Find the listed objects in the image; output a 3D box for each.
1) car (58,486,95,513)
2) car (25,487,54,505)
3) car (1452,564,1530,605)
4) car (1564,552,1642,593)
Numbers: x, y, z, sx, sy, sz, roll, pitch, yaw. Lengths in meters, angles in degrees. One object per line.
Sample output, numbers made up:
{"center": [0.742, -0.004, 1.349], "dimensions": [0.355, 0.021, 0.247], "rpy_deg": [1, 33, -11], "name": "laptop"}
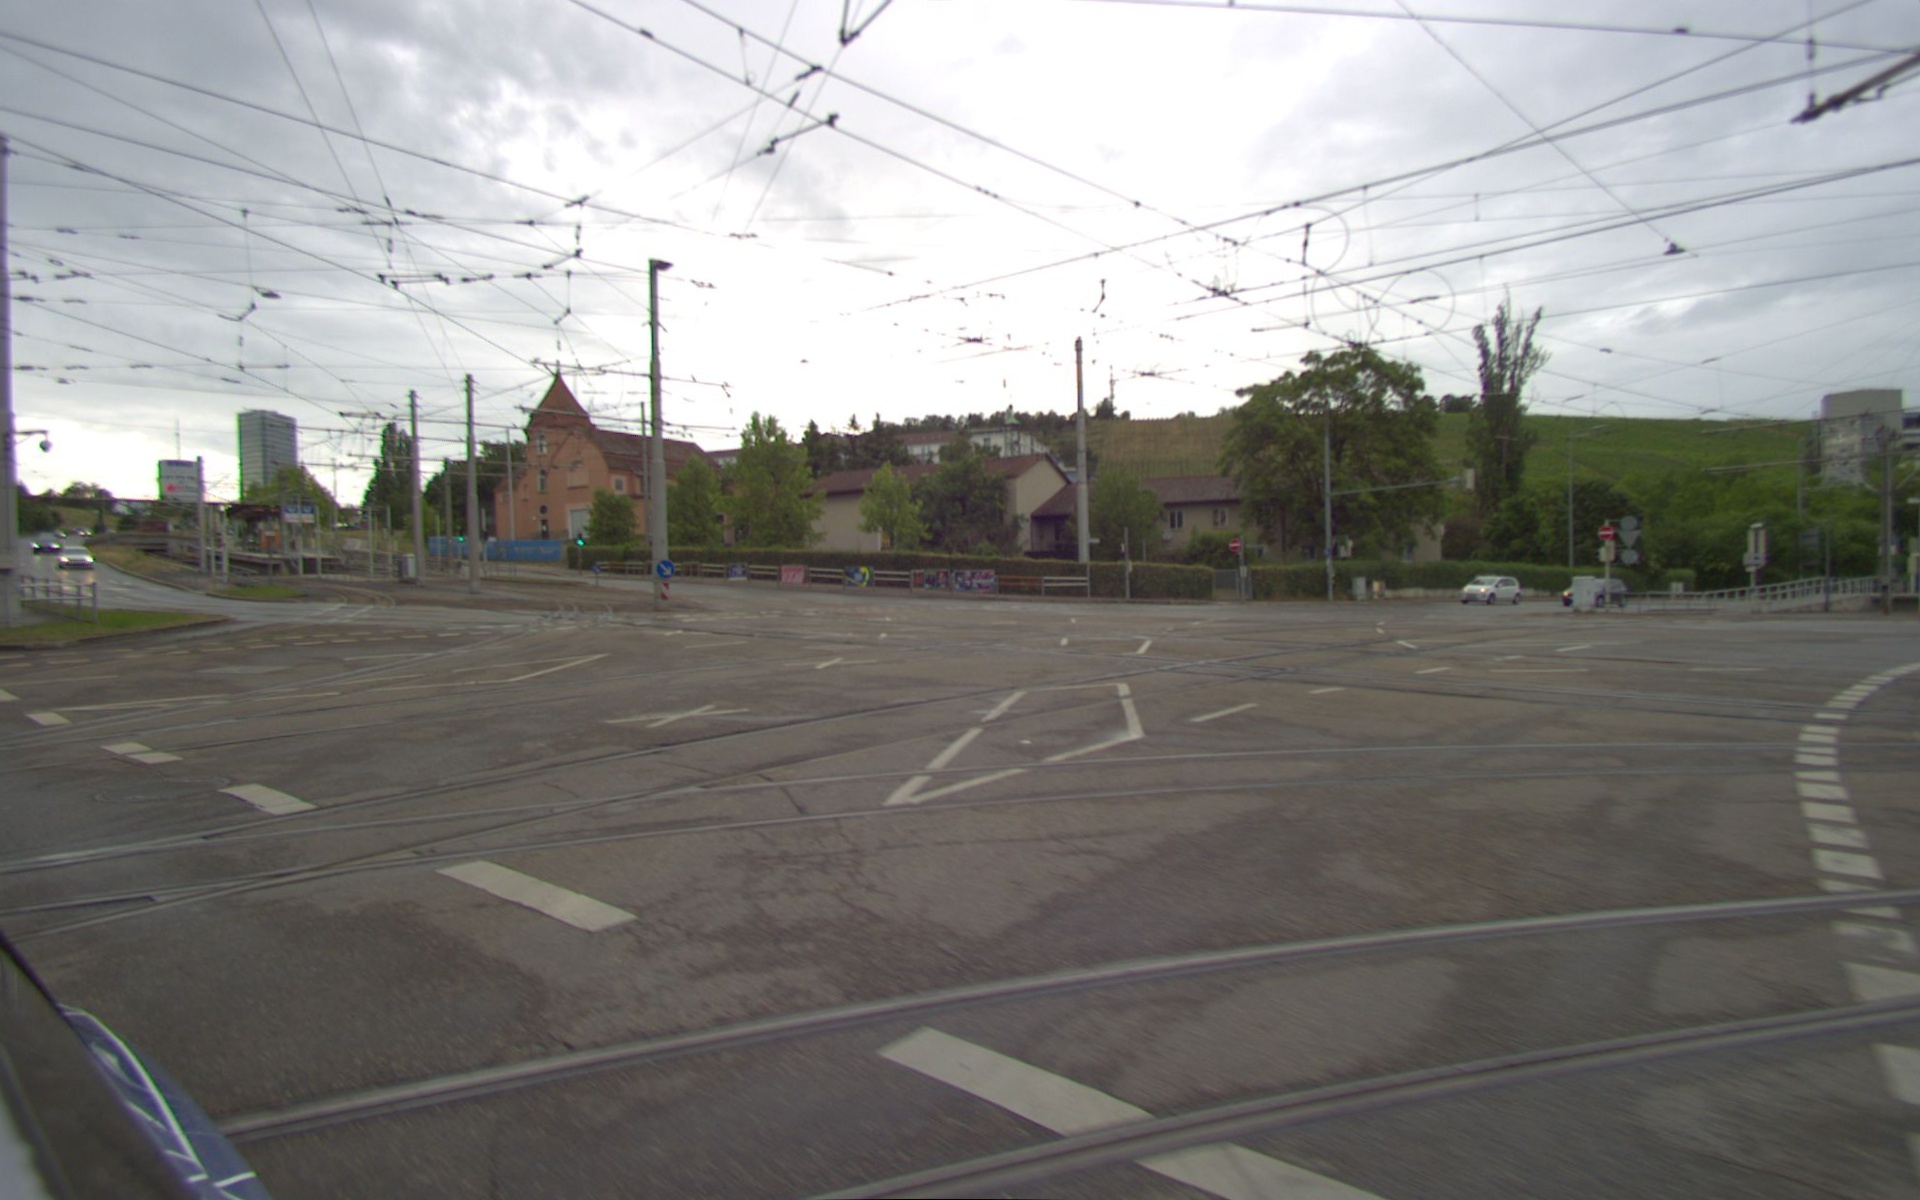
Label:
{"center": [-58.659, -6.651, 67.211], "dimensions": [1.712, 1.599, 4.008], "rpy_deg": [-1, 4, -39], "name": "car"}
{"center": [-85.259, -9.601, 93.714], "dimensions": [4.003, 1.482, 1.777], "rpy_deg": [5, 4, 45], "name": "car"}
{"center": [28.385, -0.825, 54.049], "dimensions": [3.934, 2.028, 2.006], "rpy_deg": [0, 4, -35], "name": "car"}
{"center": [33.496, -1.445, 52.672], "dimensions": [3.934, 2.028, 2.005], "rpy_deg": [0, 3, -35], "name": "car"}
